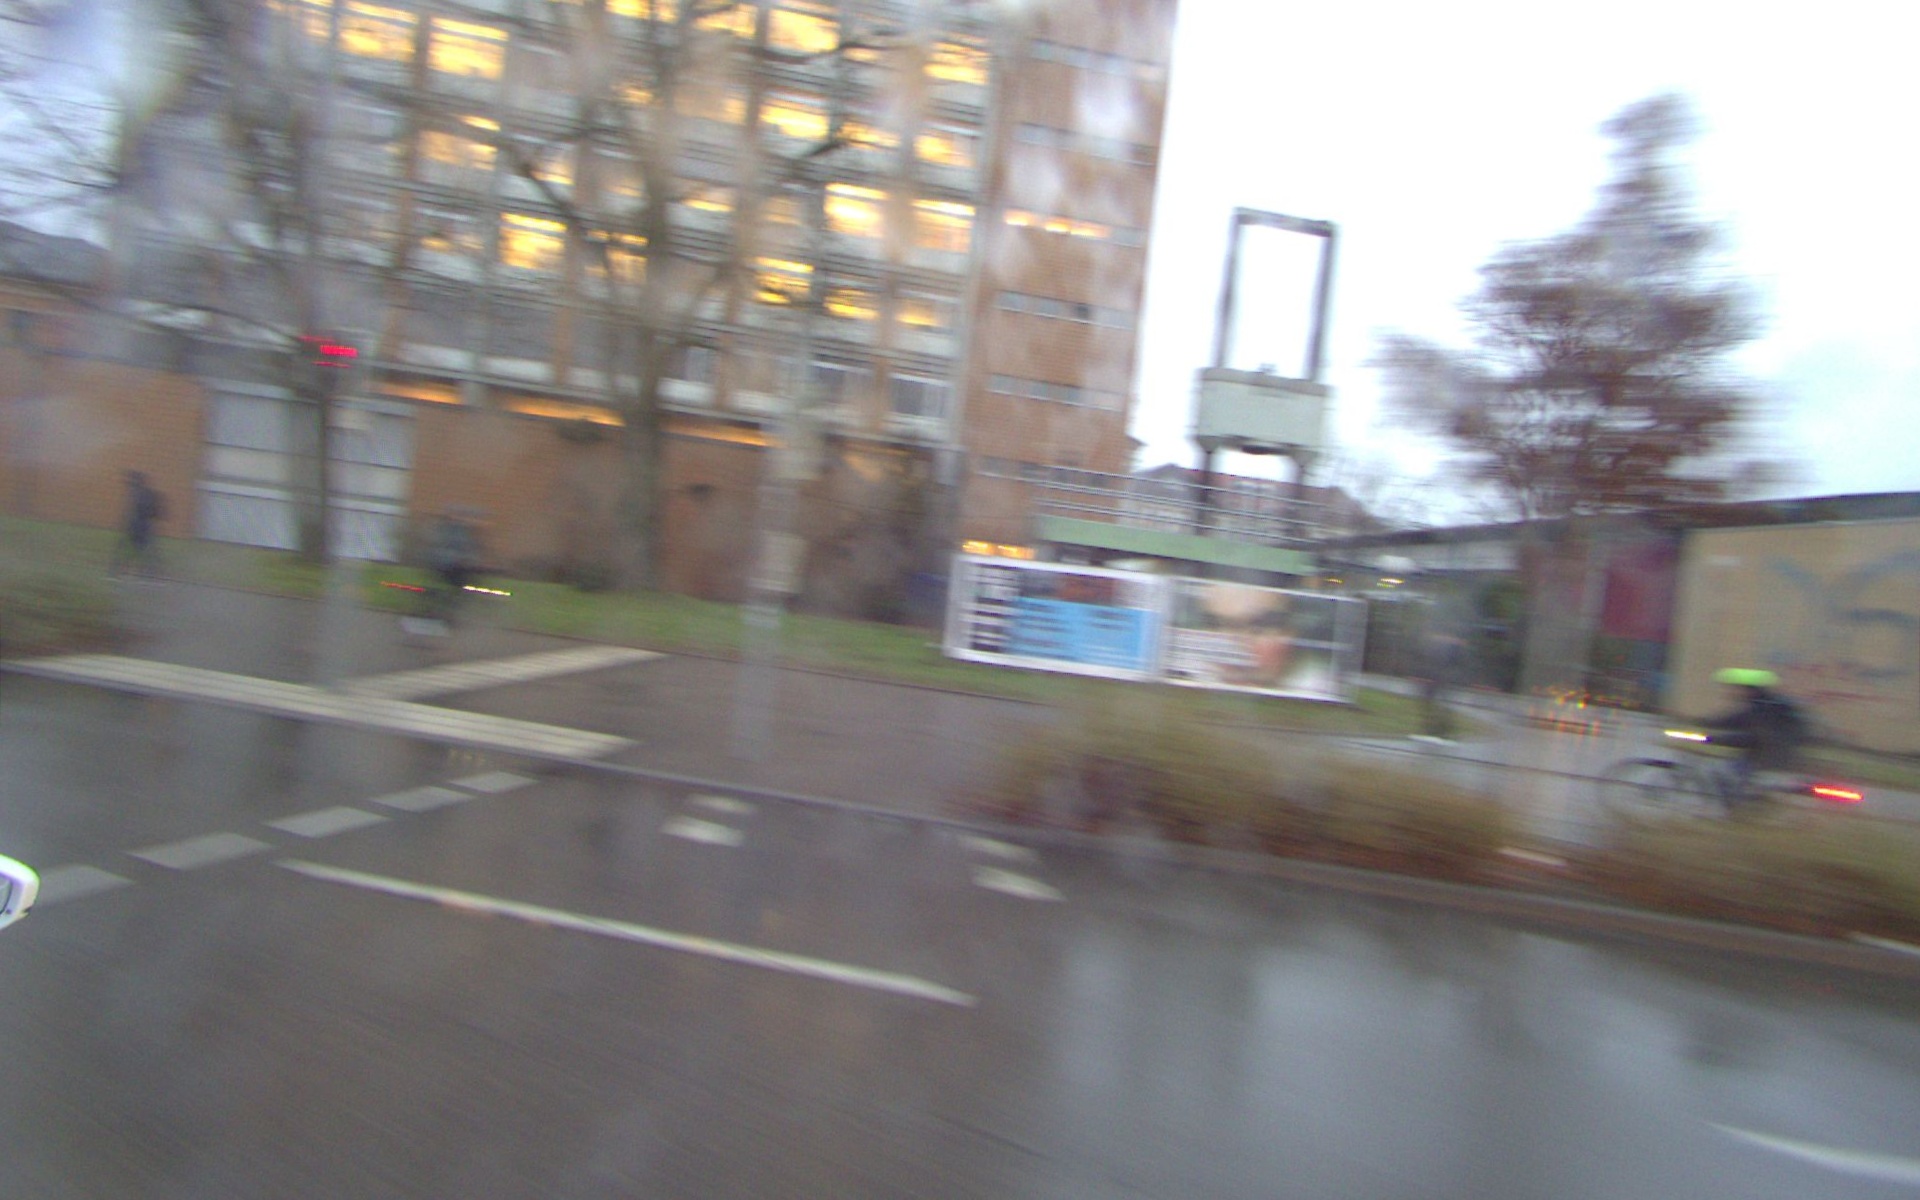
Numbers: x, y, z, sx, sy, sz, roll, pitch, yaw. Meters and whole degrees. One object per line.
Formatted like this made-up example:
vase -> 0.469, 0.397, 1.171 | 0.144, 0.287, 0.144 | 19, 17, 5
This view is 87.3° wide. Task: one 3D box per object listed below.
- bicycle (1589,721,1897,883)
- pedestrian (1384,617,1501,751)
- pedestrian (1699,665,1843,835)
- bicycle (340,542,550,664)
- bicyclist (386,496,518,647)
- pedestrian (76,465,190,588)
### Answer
bicycle -> 7.022, 1.771, 9.149 | 2.064, 0.959, 0.561 | 8, 3, 39
pedestrian -> 6.842, 1.182, 14.292 | 0.918, 1.710, 0.904 | 6, 4, -31
pedestrian -> 7.293, 1.307, 9.080 | 0.836, 1.334, 0.873 | 8, 3, 39
bicycle -> -6.209, 0.010, 12.155 | 2.171, 1.158, 0.805 | 7, 5, 11
bicyclist -> -6.099, -0.350, 12.109 | 1.065, 1.641, 0.805 | 7, 5, 11
pedestrian -> -12.489, -1.089, 15.210 | 1.050, 1.711, 0.809 | 7, 3, 15
